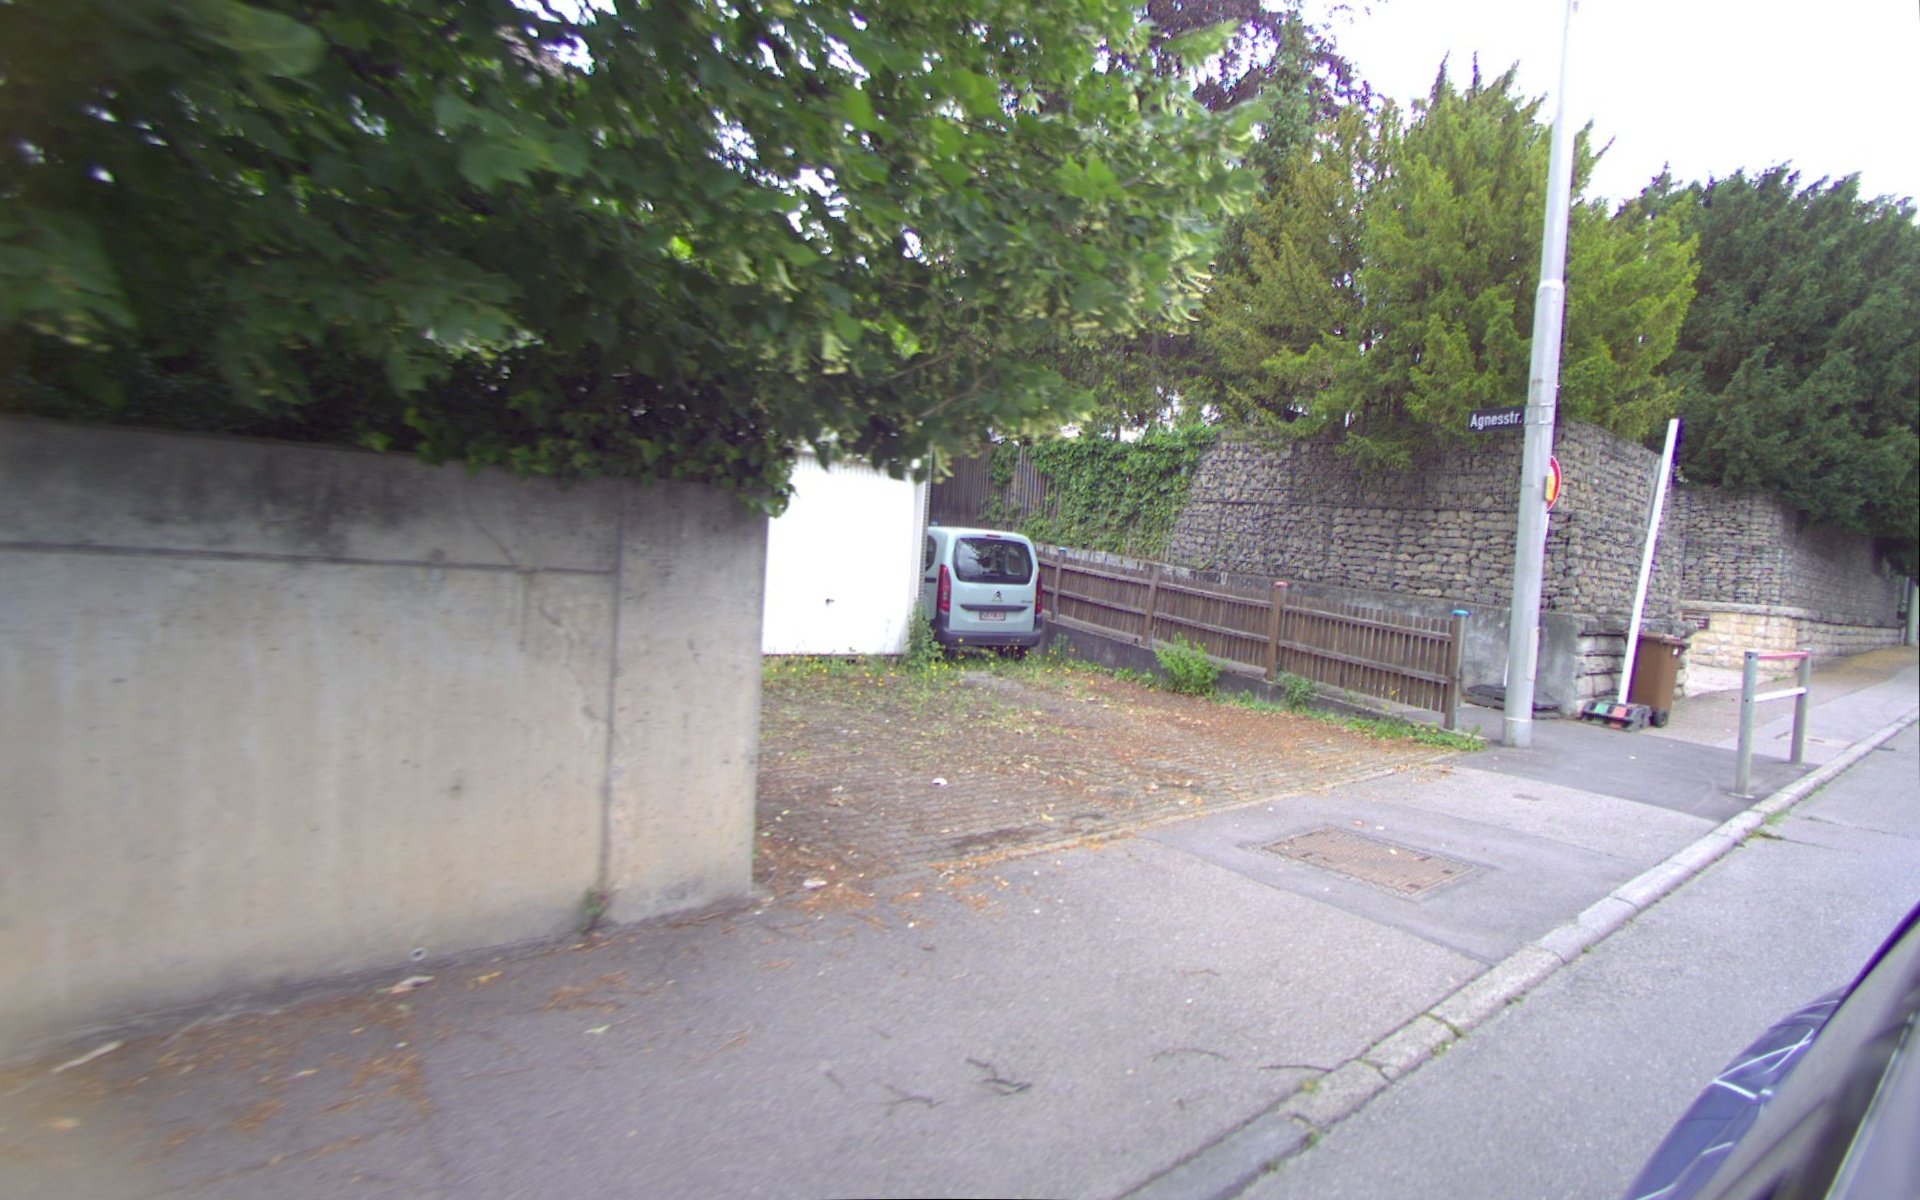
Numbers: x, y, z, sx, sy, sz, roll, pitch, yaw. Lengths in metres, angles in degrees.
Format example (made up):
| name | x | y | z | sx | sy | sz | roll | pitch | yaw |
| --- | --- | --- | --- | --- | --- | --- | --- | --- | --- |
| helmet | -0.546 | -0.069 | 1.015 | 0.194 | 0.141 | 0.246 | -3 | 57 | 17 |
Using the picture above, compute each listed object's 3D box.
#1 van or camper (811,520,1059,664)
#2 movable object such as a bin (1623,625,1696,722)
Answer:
| name | x | y | z | sx | sy | sz | roll | pitch | yaw |
| --- | --- | --- | --- | --- | --- | --- | --- | --- | --- |
| van or camper | -0.510 | -0.193 | 14.645 | 1.756 | 1.768 | 4.004 | 0 | 2 | -32 |
| movable object such as a bin | 7.105 | 0.736 | 10.283 | 0.386 | 0.921 | 0.447 | 1 | 3 | -31 |
